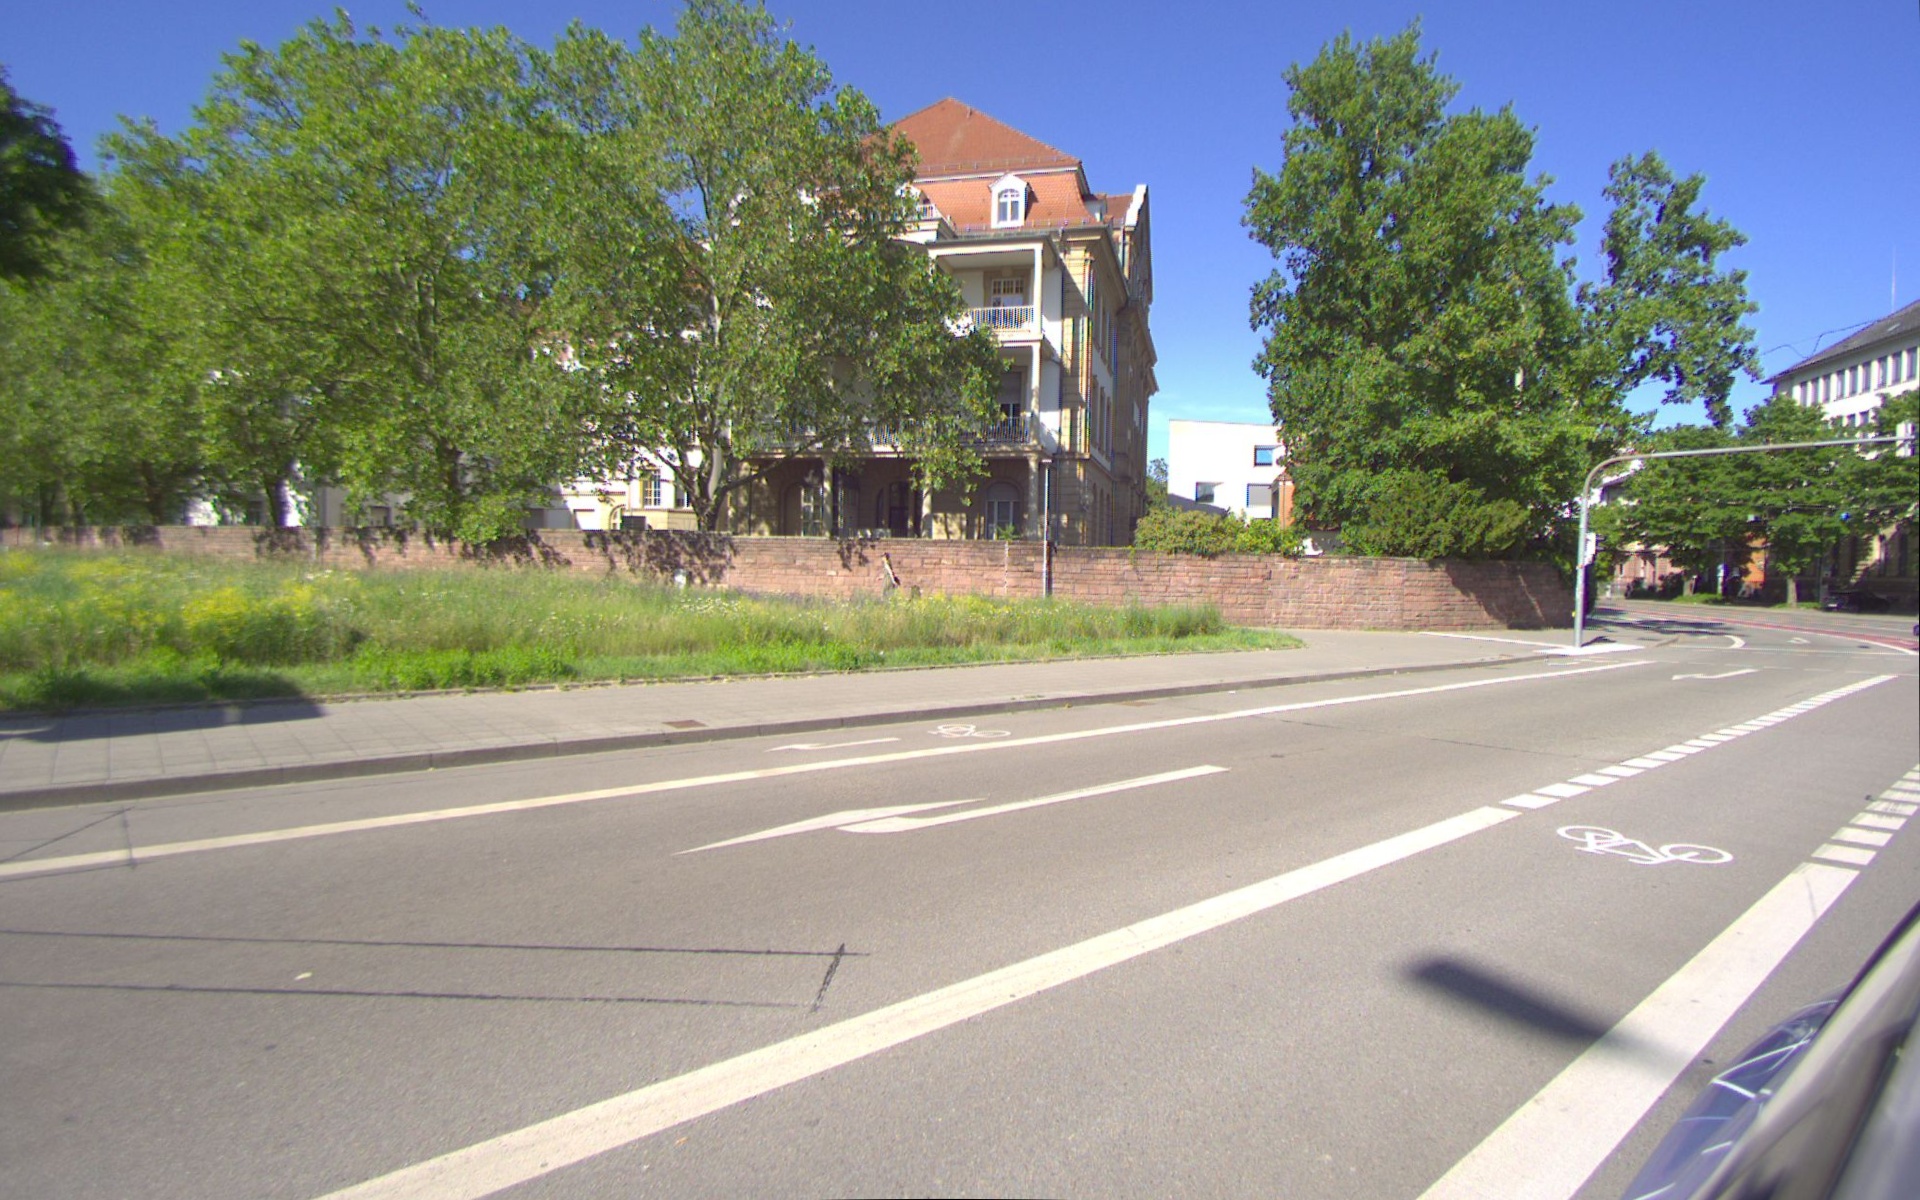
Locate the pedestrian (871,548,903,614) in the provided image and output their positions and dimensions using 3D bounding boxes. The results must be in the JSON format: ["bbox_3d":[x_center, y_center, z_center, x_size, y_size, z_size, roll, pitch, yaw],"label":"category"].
[{"bbox_3d":[-2.122,-0.553,29.472,0.776,1.881,0.628,1,1,14],"label":"pedestrian"}]

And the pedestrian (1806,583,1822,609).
[{"bbox_3d":[64.781,-0.308,76.811,0.568,1.927,0.781,1,1,12],"label":"pedestrian"}]

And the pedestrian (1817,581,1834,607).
[{"bbox_3d":[65.592,-0.493,76.716,0.568,1.927,0.849,1,1,12],"label":"pedestrian"}]

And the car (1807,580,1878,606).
[{"bbox_3d":[60.082,-0.519,69.008,1.806,1.615,3.988,2,2,11],"label":"car"}]
